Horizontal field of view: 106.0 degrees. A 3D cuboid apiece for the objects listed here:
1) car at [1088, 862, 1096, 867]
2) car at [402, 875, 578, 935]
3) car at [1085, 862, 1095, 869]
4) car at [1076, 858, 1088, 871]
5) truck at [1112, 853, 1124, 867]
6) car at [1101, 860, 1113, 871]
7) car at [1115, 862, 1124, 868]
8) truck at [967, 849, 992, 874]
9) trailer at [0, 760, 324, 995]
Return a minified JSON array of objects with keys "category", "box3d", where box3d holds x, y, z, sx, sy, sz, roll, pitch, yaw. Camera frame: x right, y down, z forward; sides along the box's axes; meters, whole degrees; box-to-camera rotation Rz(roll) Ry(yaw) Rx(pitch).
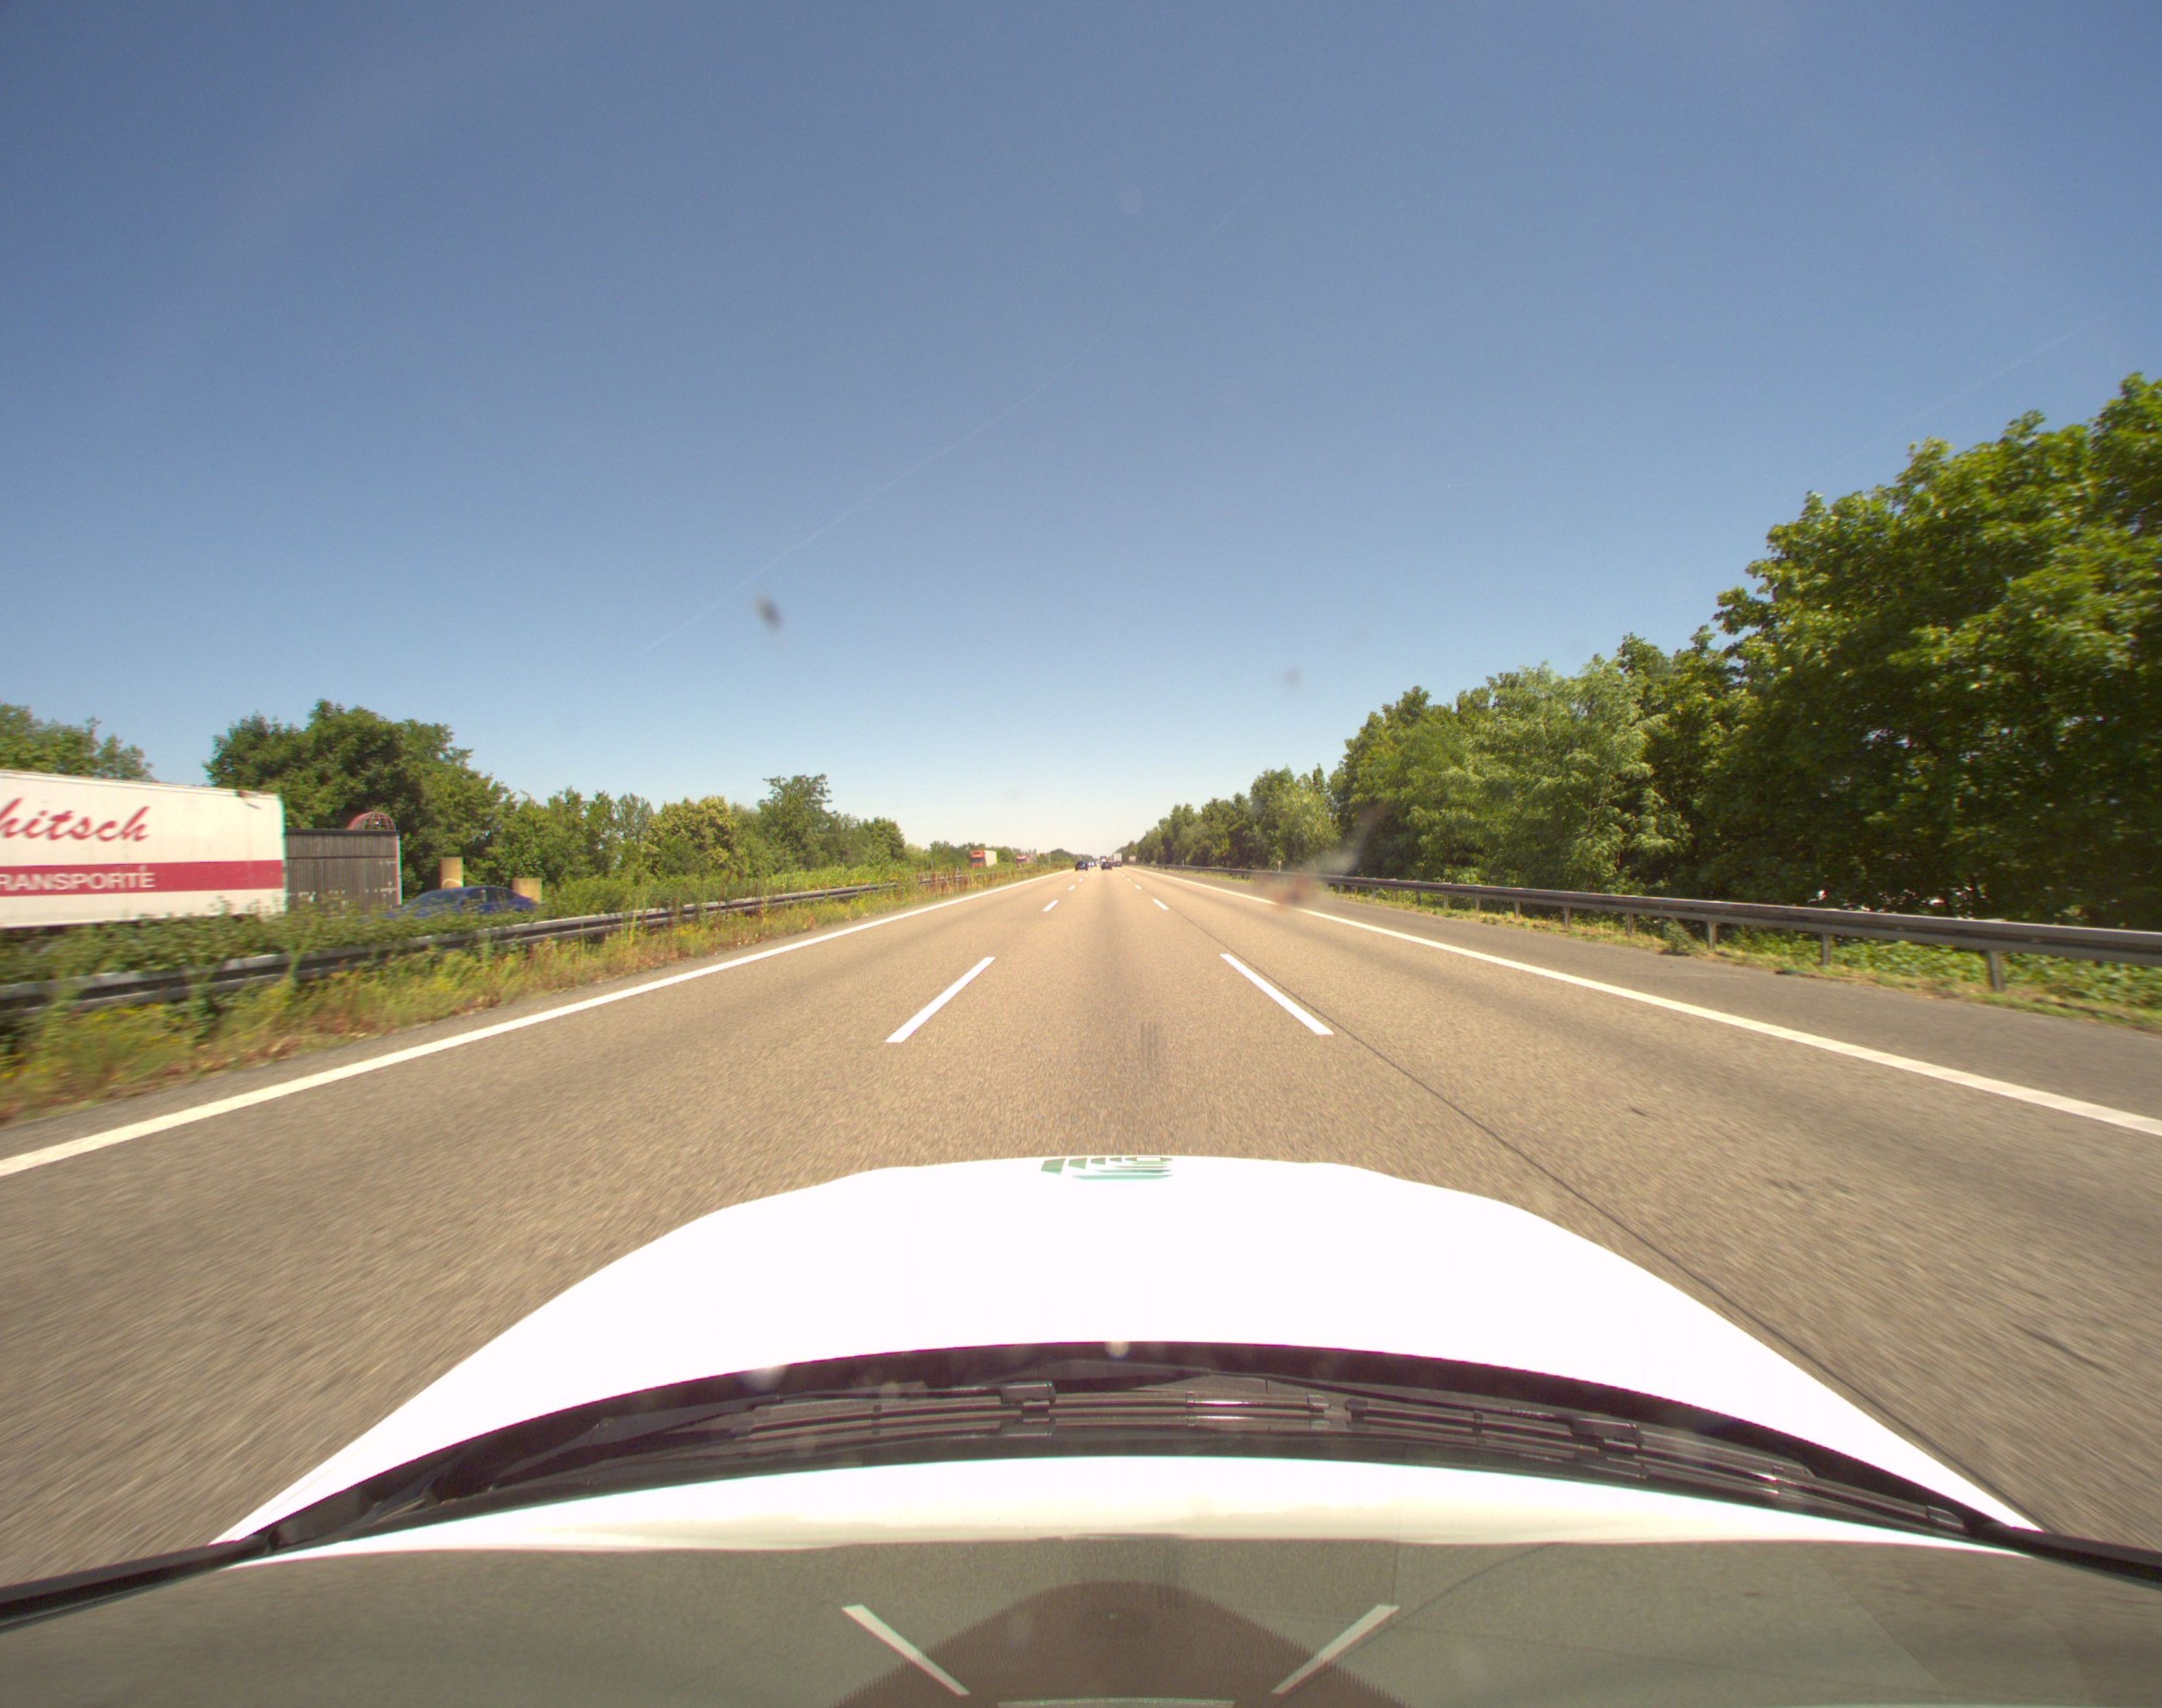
[{"category":"car","box3d":[3.444,3.263,251.766,2.120,1.645,4.306,-2,-1,2]},{"category":"car","box3d":[-16.316,1.353,22.798,1.893,1.419,4.208,-1,-1,-1]},{"category":"car","box3d":[2.098,2.764,195.060,2.120,1.645,4.306,-2,-1,2]},{"category":"car","box3d":[0.179,1.637,128.611,1.874,1.792,4.000,-1,1,0]},{"category":"truck","box3d":[11.009,1.734,243.924,3.372,3.970,9.541,-2,-1,2]},{"category":"car","box3d":[4.243,1.872,133.163,1.896,1.584,4.306,-2,-1,2]},{"category":"car","box3d":[9.995,2.811,212.117,2.120,1.584,4.306,-2,-1,2]},{"category":"truck","box3d":[-17.112,1.323,137.980,2.722,3.935,7.419,-4,-1,2]},{"category":"trailer","box3d":[-20.577,0.434,14.261,2.831,4.173,12.227,-1,0,2]}]
